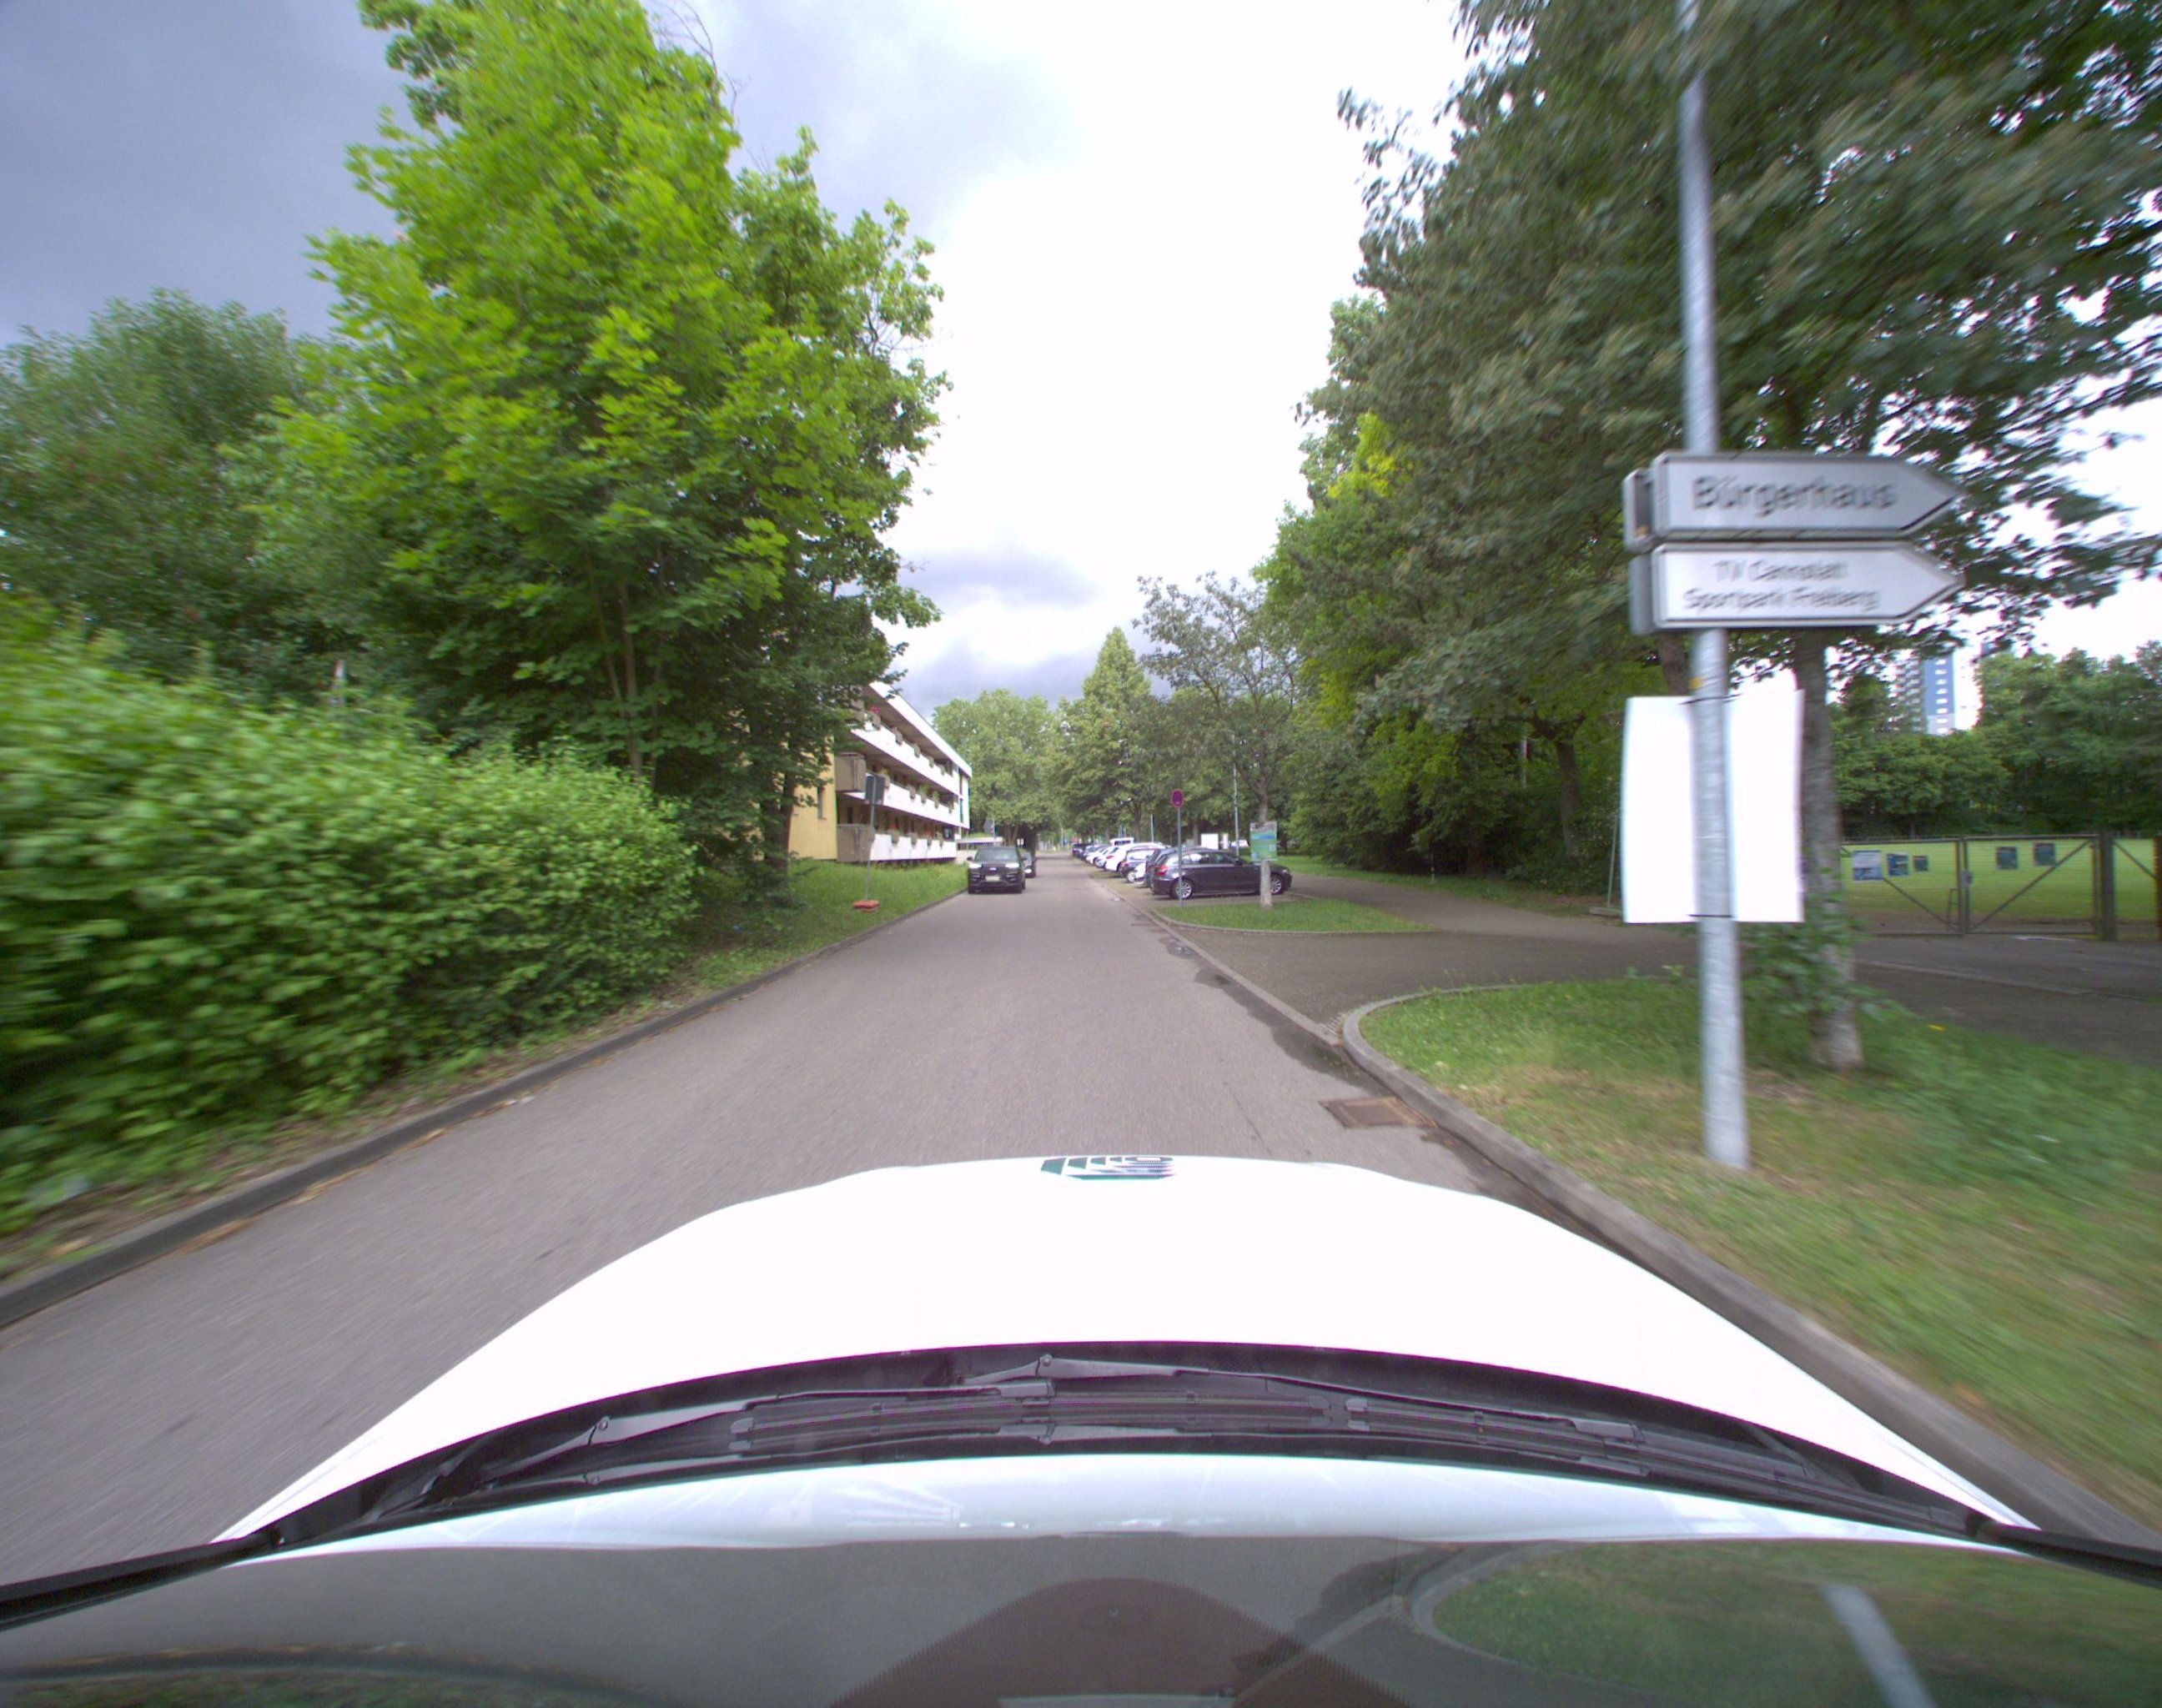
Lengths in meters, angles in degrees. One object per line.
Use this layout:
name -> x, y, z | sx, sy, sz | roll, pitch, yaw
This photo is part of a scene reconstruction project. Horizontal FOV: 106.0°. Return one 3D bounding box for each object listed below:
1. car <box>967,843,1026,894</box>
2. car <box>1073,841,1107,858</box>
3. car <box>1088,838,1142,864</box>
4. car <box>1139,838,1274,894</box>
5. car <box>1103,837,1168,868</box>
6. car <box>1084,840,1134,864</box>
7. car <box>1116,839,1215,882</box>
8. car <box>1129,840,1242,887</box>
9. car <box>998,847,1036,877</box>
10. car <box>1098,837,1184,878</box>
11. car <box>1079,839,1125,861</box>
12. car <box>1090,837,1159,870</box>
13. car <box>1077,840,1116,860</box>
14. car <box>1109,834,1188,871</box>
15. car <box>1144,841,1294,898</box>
car -> -3.124, 0.494, 30.925 | 1.964, 1.747, 4.334 | -1, 0, -3
car -> 1.100, -0.611, 104.555 | 4.058, 1.770, 1.819 | -5, 1, -6
car -> 2.712, -0.240, 65.431 | 4.058, 1.687, 1.819 | -5, 1, -6
car -> 4.081, 0.393, 26.912 | 4.054, 1.568, 1.820 | -3, -1, -3
car -> 3.645, -0.093, 54.832 | 4.058, 1.687, 1.819 | -5, 1, -6
car -> 2.427, -0.198, 70.925 | 4.058, 1.687, 1.819 | -5, 1, -6
car -> 3.731, 0.276, 36.499 | 4.058, 1.488, 1.819 | -5, 1, -6
car -> 4.026, 0.344, 31.722 | 4.054, 1.568, 1.820 | -3, 0, -3
car -> -3.543, 0.426, 46.007 | 1.964, 1.575, 4.334 | -1, 0, -3
car -> 3.028, 0.145, 41.708 | 4.058, 1.687, 1.819 | -5, 1, -6
car -> 1.934, -0.378, 76.359 | 4.058, 1.687, 1.819 | -5, 1, -6
car -> 2.776, -0.026, 52.223 | 4.058, 1.687, 1.819 | -5, 1, -6
car -> 1.694, -0.423, 89.309 | 4.058, 1.770, 1.819 | -5, 1, -6
car -> 3.761, -0.084, 45.856 | 4.058, 1.687, 1.819 | -5, 1, -6
car -> 4.038, 0.459, 24.297 | 4.054, 1.434, 1.998 | -3, -1, -3
